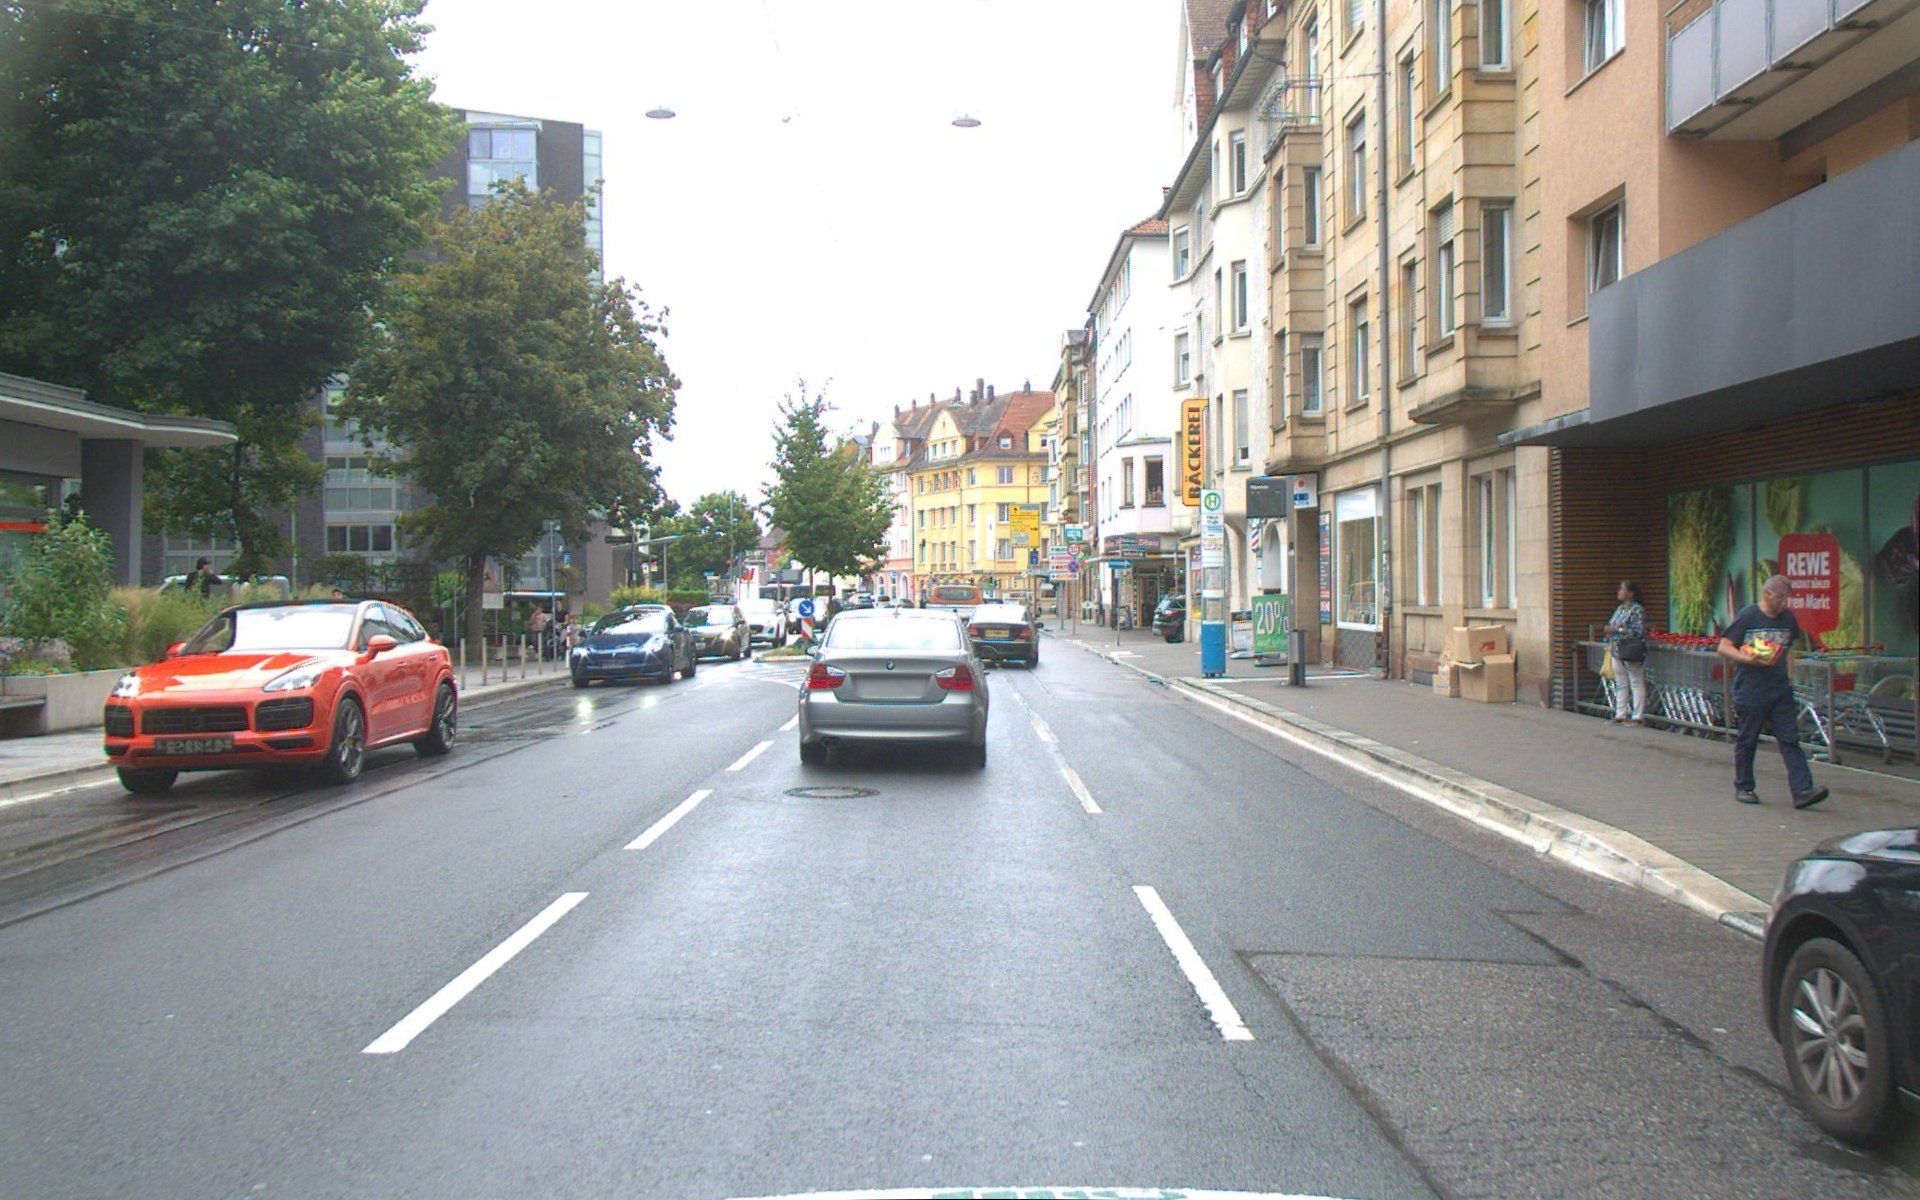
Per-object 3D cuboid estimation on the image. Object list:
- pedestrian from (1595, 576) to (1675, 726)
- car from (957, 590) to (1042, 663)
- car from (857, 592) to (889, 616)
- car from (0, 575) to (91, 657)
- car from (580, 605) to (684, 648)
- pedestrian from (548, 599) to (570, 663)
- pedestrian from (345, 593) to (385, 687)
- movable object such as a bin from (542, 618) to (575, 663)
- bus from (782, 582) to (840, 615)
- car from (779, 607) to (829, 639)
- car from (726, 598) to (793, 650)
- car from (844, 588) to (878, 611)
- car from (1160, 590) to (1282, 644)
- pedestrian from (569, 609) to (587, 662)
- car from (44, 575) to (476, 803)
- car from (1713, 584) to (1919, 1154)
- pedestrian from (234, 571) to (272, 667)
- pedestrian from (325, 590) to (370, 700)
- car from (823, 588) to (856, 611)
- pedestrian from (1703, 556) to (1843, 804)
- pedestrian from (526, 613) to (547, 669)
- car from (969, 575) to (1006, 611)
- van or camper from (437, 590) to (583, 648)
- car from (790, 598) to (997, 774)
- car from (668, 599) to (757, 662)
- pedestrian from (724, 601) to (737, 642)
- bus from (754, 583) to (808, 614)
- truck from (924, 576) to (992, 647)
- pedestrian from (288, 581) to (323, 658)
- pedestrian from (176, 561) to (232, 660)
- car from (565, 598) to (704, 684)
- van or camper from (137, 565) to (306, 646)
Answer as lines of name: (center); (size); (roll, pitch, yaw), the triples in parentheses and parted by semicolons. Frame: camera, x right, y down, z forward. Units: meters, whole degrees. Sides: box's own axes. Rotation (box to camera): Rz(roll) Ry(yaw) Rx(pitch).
pedestrian: (7.362, 0.546, 18.051); (0.552, 1.600, 0.624); (0, 0, -17)
car: (0.854, 0.613, 38.135); (1.763, 1.590, 3.998); (0, -1, -2)
car: (-8.626, 0.382, 163.983); (1.740, 2.218, 3.967); (3, -1, -25)
car: (-27.299, 0.458, 47.684); (3.942, 2.295, 1.981); (-1, 0, -29)
car: (-12.590, 0.998, 63.487); (3.545, 1.597, 1.721); (1, 0, -34)
pedestrian: (-10.845, 0.832, 44.749); (0.488, 1.702, 0.552); (0, 0, -4)
pedestrian: (-12.129, 0.801, 33.702); (0.711, 1.858, 0.849); (0, 0, -23)
movable object such as a bin: (-10.699, 1.076, 44.094); (0.689, 1.154, 0.965); (1, 0, -4)
bus: (-14.740, -0.140, 163.063); (2.872, 3.159, 9.071); (-1, 0, -25)
car: (-7.413, 1.082, 78.974); (1.972, 1.450, 4.499); (0, 0, 0)
car: (-6.586, 0.748, 54.609); (1.783, 1.596, 4.088); (-1, 0, -2)
car: (-9.025, -0.016, 150.082); (1.965, 2.049, 3.974); (0, 0, -21)
car: (8.894, 0.576, 56.687); (4.050, 1.803, 1.875); (0, 0, 6)
pedestrian: (-10.341, 0.950, 44.778); (0.424, 1.435, 0.481); (0, 0, -4)
car: (-6.487, 0.761, 16.107); (2.063, 1.795, 5.059); (-2, -1, -1)
car: (3.513, 0.765, 3.839); (1.694, 1.574, 3.981); (1, 0, 0)
pedestrian: (-13.363, 0.346, 31.281); (0.646, 1.790, 0.716); (0, 0, -24)
pedestrian: (-10.524, 0.768, 28.437); (0.710, 1.858, 0.718); (0, 0, -19)
car: (-11.341, -0.040, 155.708); (1.965, 2.049, 3.974); (0, 0, -22)
pedestrian: (5.725, 0.540, 11.684); (0.612, 1.680, 0.749); (0, 2, 2)
pedestrian: (-11.424, 1.095, 44.650); (0.450, 1.499, 0.530); (0, 0, -4)
car: (1.539, -0.388, 94.400); (1.953, 2.049, 3.999); (0, 0, -1)
van or camper: (-16.591, 0.694, 61.016); (4.899, 2.049, 1.980); (1, 0, -30)
car: (-0.620, 0.778, 16.268); (1.763, 1.490, 4.369); (0, -1, -2)
car: (-6.656, 0.780, 44.808); (1.916, 1.584, 4.241); (-1, 0, -2)
pedestrian: (-10.250, 0.952, 73.853); (0.563, 1.793, 0.580); (0, 0, -7)
bus: (-18.559, -0.158, 171.171); (2.871, 3.159, 8.802); (-1, 0, -25)
truck: (-0.100, 0.374, 55.871); (2.179, 2.289, 5.062); (0, 0, -1)
pedestrian: (-16.009, 0.467, 40.468); (0.713, 1.858, 0.715); (0, 0, -28)
pedestrian: (-14.452, 0.194, 31.642); (0.845, 1.877, 0.692); (0, 0, -15)
car: (-6.541, 0.768, 33.733); (1.915, 1.538, 4.911); (-2, 0, -1)
van or camper: (-22.805, 0.175, 51.098); (4.553, 2.306, 2.190); (2, 0, -30)
